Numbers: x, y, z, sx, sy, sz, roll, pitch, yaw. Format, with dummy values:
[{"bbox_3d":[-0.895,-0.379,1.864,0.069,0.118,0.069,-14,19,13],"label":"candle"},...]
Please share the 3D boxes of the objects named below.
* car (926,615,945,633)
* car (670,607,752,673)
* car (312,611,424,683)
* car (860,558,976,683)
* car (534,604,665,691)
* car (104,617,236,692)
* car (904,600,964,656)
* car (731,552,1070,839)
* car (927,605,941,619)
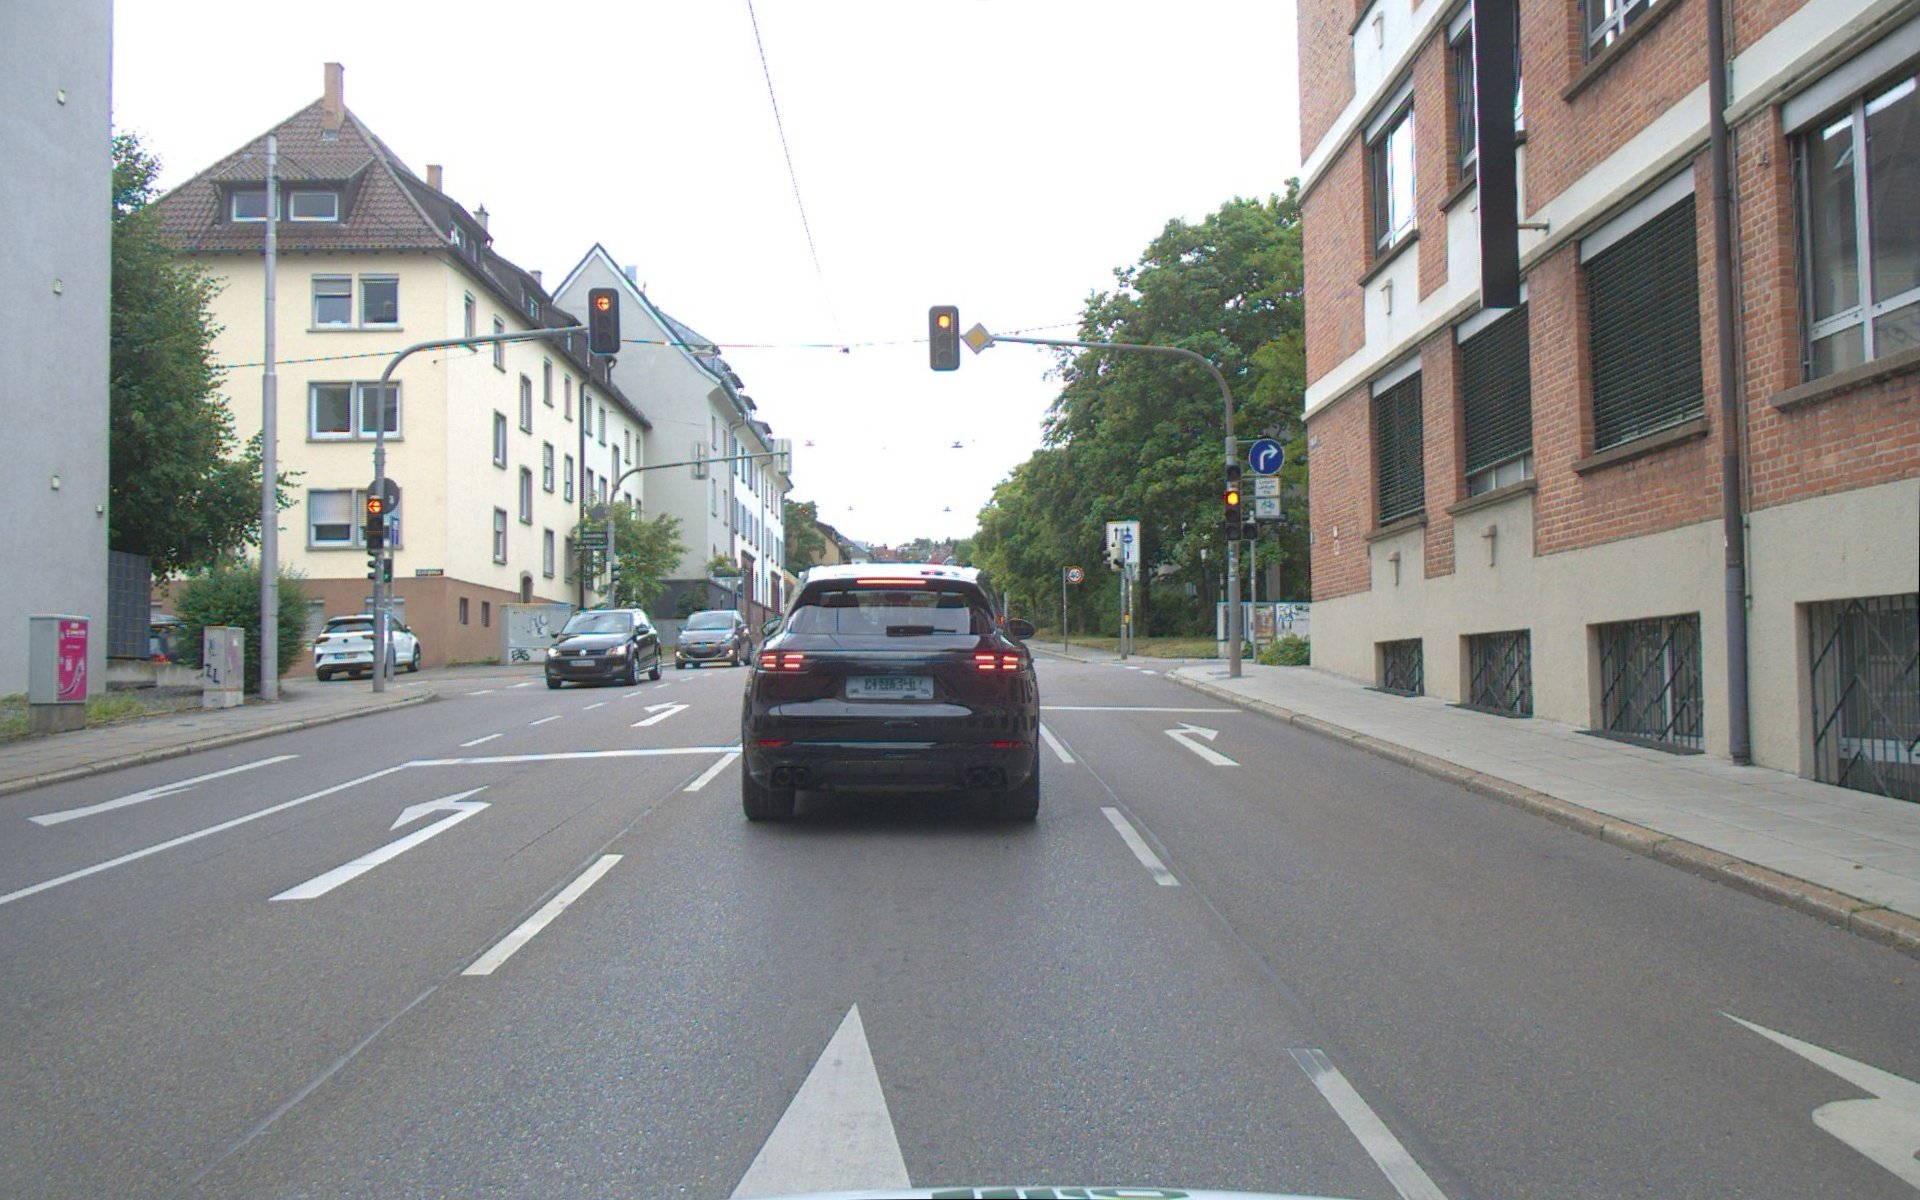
[{"bbox_3d":[-2.422,2.368,162.773,1.790,1.633,4.134,1,0,-1],"label":"car"},{"bbox_3d":[-6.949,1.088,46.446,1.669,1.614,3.936,-3,1,-1],"label":"car"},{"bbox_3d":[-14.843,1.133,41.647,1.658,1.582,3.762,-3,1,-5],"label":"car"},{"bbox_3d":[-0.729,0.331,30.045,1.925,2.078,4.134,1,0,-1],"label":"car"},{"bbox_3d":[-6.791,0.848,31.529,1.639,1.424,3.794,-3,1,-1],"label":"car"},{"bbox_3d":[-19.684,1.314,41.383,1.658,1.636,3.762,-3,1,-5],"label":"car"},{"bbox_3d":[-0.802,0.840,51.962,1.790,1.633,4.134,1,0,-1],"label":"car"},{"bbox_3d":[-0.371,0.558,12.047,2.007,1.695,4.266,1,0,-1],"label":"car"},{"bbox_3d":[-3.343,1.540,211.040,1.790,1.633,4.134,1,0,-1],"label":"car"}]
